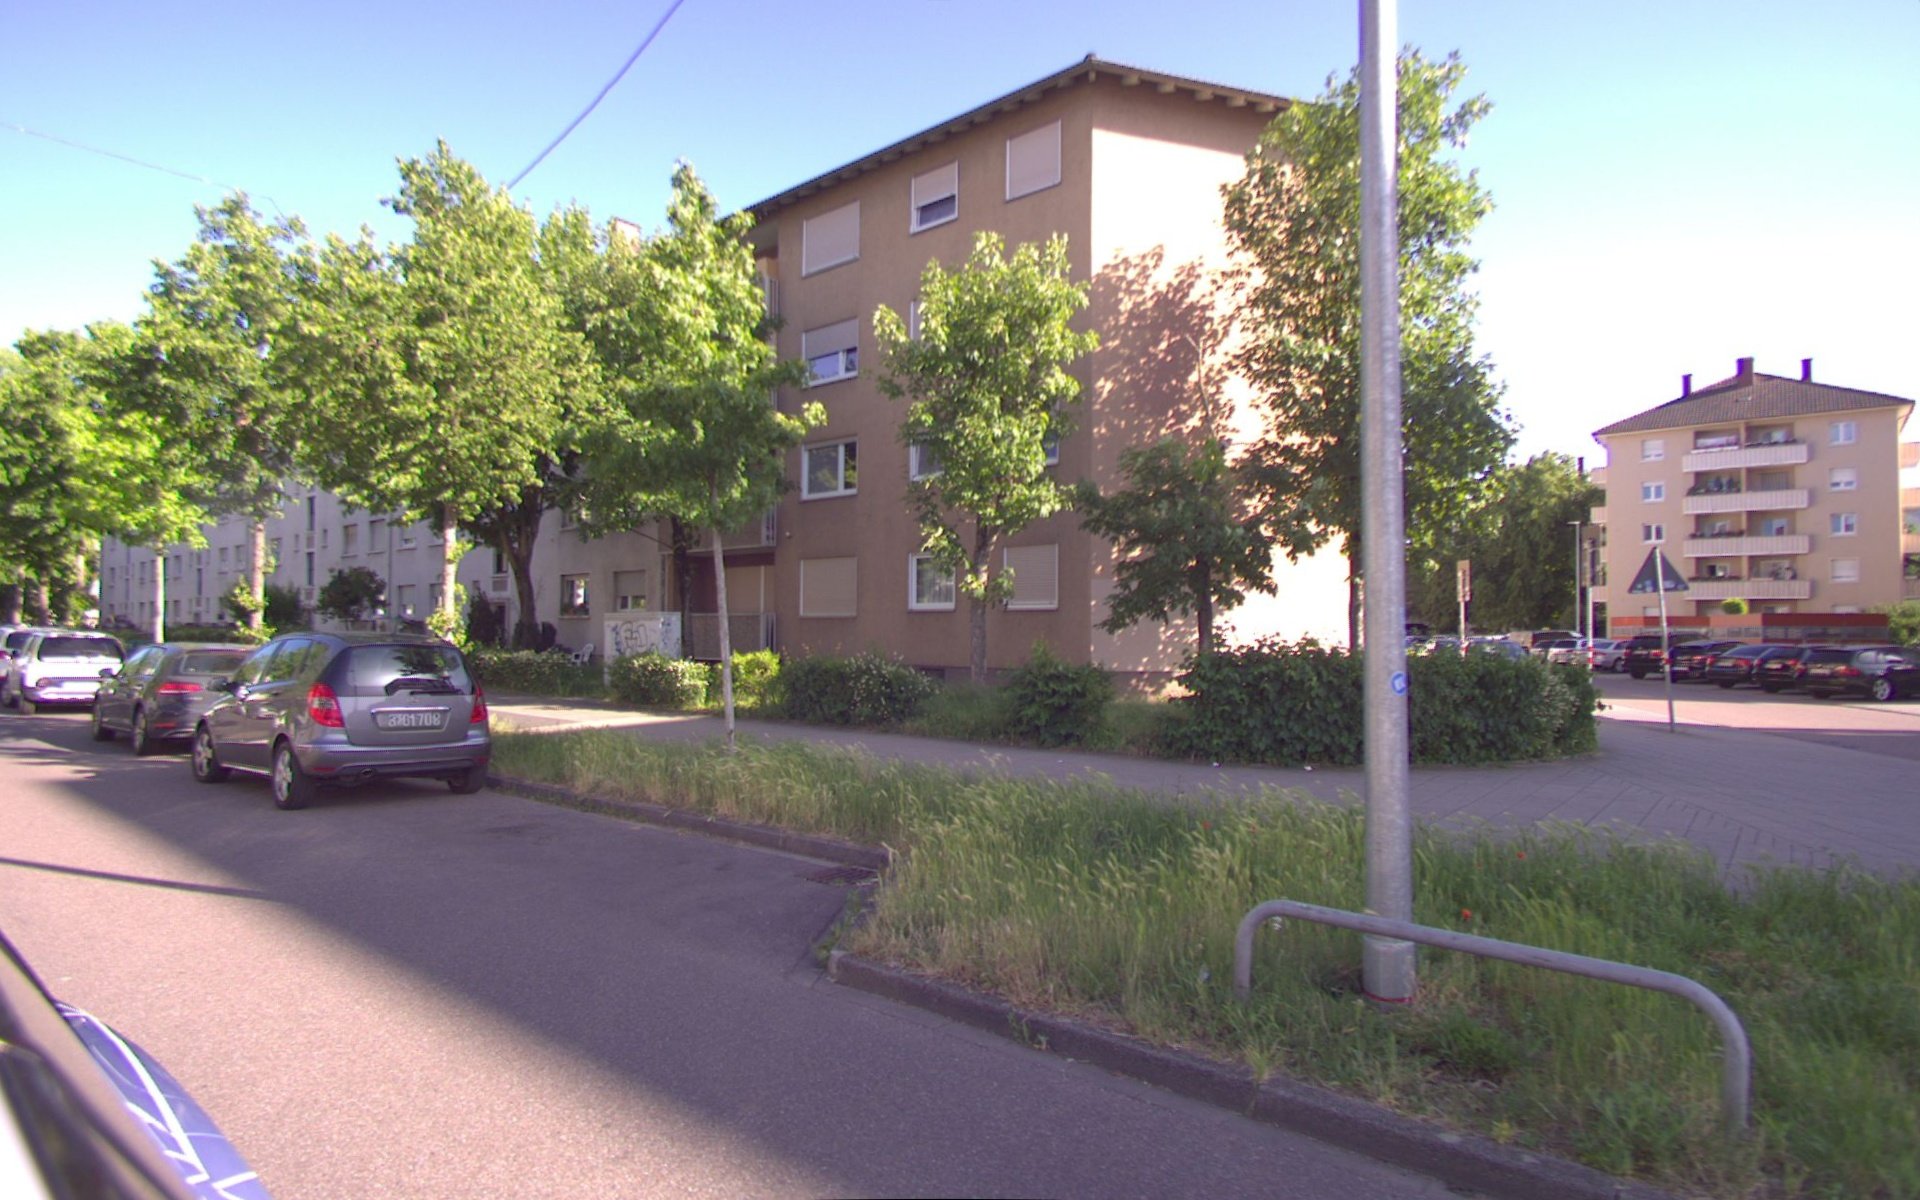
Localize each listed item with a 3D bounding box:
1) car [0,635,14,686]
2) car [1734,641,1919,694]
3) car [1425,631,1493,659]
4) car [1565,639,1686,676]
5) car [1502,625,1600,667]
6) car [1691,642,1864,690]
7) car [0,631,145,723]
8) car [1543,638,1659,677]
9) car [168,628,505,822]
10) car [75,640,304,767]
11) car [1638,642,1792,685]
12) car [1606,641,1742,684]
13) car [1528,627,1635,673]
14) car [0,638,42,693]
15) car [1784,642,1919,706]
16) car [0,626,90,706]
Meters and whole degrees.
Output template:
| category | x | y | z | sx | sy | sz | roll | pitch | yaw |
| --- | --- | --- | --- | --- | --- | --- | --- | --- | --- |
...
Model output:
| category | x | y | z | sx | sy | sz | roll | pitch | yaw |
| --- | --- | --- | --- | --- | --- | --- | --- | --- | --- |
| car | -29.806 | 1.777 | 30.314 | 3.964 | 1.456 | 1.632 | -1 | -3 | 40 |
| car | 25.041 | 1.920 | 29.219 | 3.938 | 1.320 | 2.003 | -1 | -1 | -6 |
| car | 36.210 | 3.264 | 73.485 | 3.951 | 1.851 | 1.996 | -1 | 0 | 7 |
| car | 28.660 | 2.442 | 43.667 | 3.938 | 1.408 | 2.003 | -1 | 0 | -6 |
| car | 30.784 | 2.354 | 52.801 | 3.938 | 2.029 | 2.003 | -1 | 0 | -6 |
| car | 25.706 | 2.062 | 31.890 | 3.938 | 1.320 | 2.003 | -1 | -1 | -6 |
| car | -17.695 | 1.436 | 19.991 | 3.996 | 1.538 | 1.700 | -1 | 0 | 39 |
| car | 29.288 | 2.610 | 46.324 | 3.944 | 1.652 | 2.000 | -1 | 0 | 1 |
| car | -6.523 | 1.112 | 10.414 | 4.104 | 1.574 | 1.702 | -1 | -3 | 40 |
| car | -10.821 | 1.323 | 14.112 | 4.088 | 1.405 | 1.643 | -1 | 0 | 39 |
| car | 26.255 | 2.187 | 35.272 | 3.938 | 1.320 | 2.003 | -1 | -1 | -6 |
| car | 26.937 | 2.318 | 38.236 | 3.934 | 1.264 | 2.005 | -3 | 0 | -12 |
| car | 29.937 | 2.376 | 48.830 | 3.940 | 2.029 | 2.002 | -1 | 0 | -4 |
| car | -26.167 | 1.717 | 27.199 | 4.233 | 1.402 | 1.641 | -2 | -3 | 40 |
| car | 23.976 | 1.879 | 26.192 | 3.935 | 1.412 | 2.004 | -1 | 0 | -10 |
| car | -21.707 | 1.456 | 23.401 | 4.220 | 1.692 | 1.686 | -1 | -3 | 40 |
